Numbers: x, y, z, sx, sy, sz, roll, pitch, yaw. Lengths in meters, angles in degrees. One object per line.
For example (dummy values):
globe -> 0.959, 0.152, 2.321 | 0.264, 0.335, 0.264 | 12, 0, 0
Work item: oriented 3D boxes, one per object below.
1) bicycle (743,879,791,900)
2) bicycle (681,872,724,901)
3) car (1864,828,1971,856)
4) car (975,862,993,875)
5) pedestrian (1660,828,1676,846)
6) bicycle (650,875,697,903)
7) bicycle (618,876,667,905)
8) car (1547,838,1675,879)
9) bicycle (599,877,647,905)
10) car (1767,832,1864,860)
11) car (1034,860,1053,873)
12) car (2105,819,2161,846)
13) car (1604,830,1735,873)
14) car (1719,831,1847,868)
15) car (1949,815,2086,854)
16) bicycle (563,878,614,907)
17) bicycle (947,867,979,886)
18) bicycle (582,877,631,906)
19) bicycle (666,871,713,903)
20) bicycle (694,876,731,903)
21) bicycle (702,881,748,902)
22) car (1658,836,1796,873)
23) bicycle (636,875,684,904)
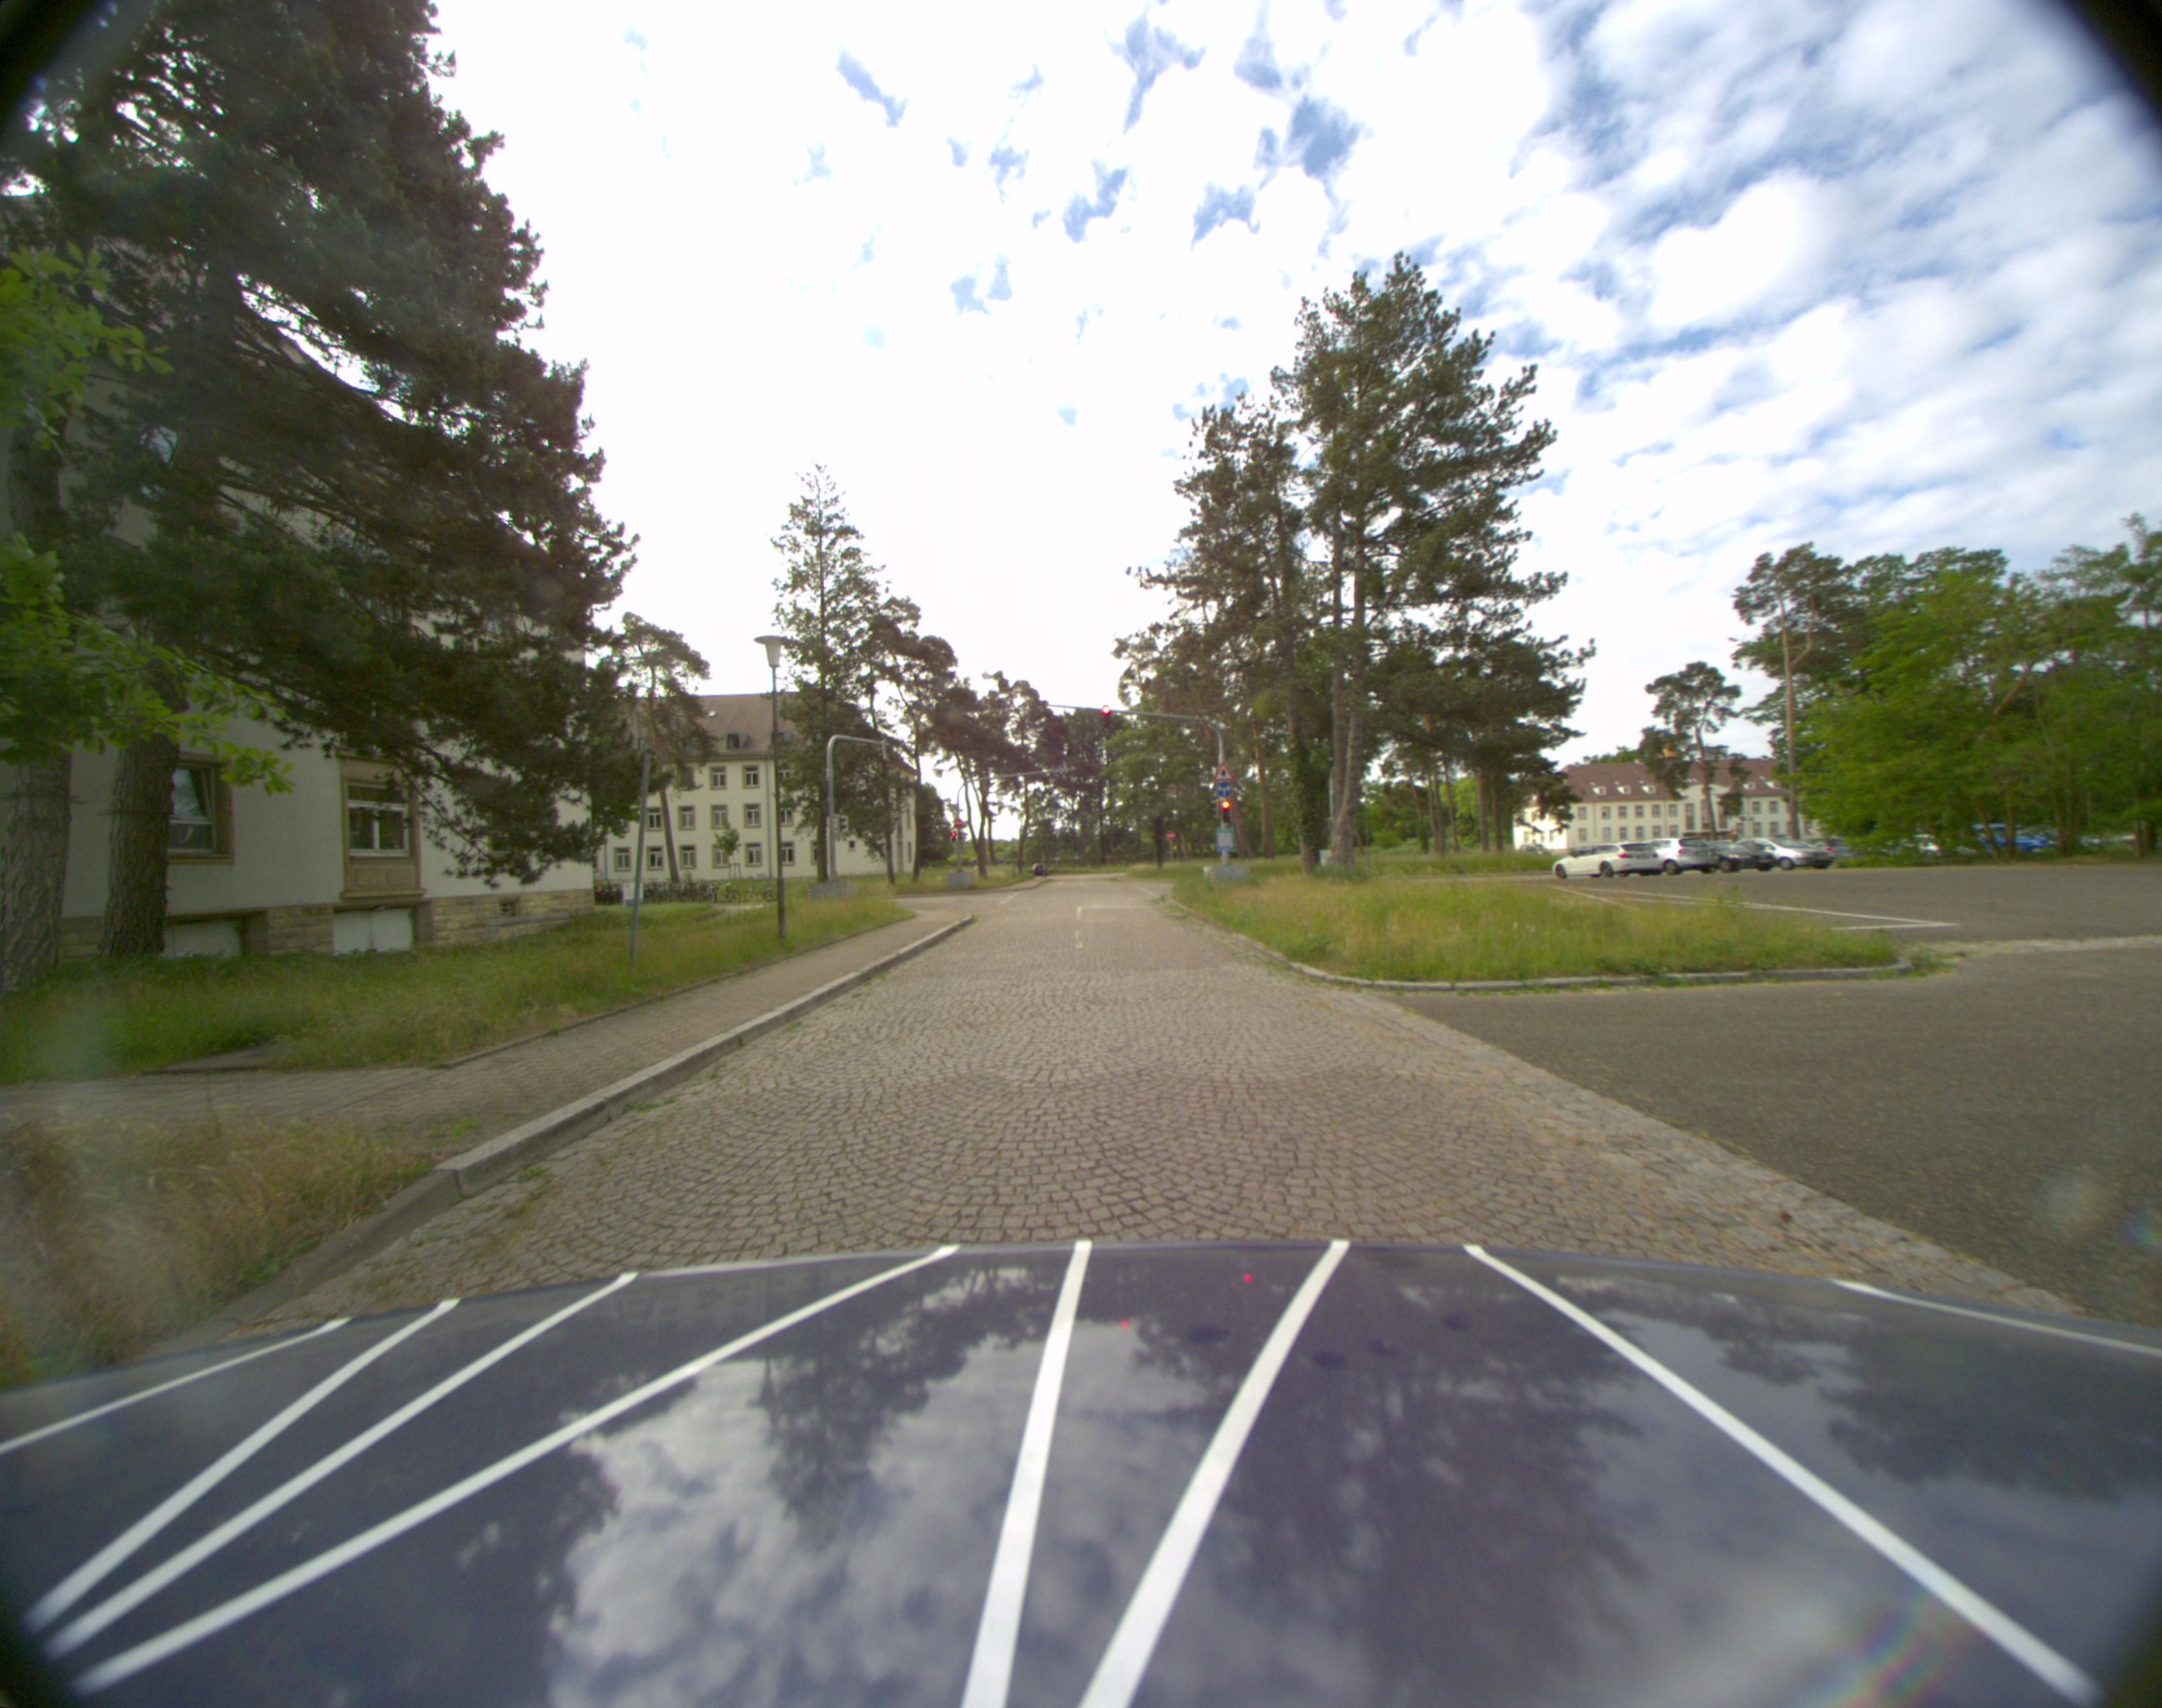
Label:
bicycle -> -15.920, 1.795, 38.554 | 1.977, 0.990, 0.903 | -2, 0, -1
bicycle -> -19.903, 1.690, 40.041 | 0.874, 1.359, 2.628 | -2, 0, 0
car -> 47.762, -0.644, 43.488 | 1.795, 1.440, 3.936 | -2, 0, 1
car -> -12.273, 1.840, 96.310 | 1.771, 1.524, 3.695 | -2, 0, 2
pedestrian -> 72.246, -2.100, 93.535 | 1.055, 2.165, 1.185 | -2, 0, 1
bicycle -> -21.693, 1.851, 40.511 | 0.950, 1.363, 2.812 | -2, 0, 0
bicycle -> -23.122, 1.906, 40.147 | 0.950, 1.363, 2.812 | -2, 0, 0
car -> 22.306, 0.255, 32.273 | 1.912, 1.430, 4.823 | -2, -3, -2
bicycle -> -24.086, 1.918, 39.995 | 0.950, 1.363, 2.576 | -2, 0, -1
car -> 41.933, -0.442, 43.500 | 1.795, 1.467, 3.936 | -2, 0, 2
car -> -4.654, 1.515, 95.564 | 1.998, 1.524, 4.000 | -2, 0, 2
car -> 62.015, -1.271, 43.351 | 1.867, 1.495, 4.001 | -2, 0, 3
car -> 24.902, -0.048, 32.384 | 1.846, 1.580, 4.488 | -2, -2, -3
car -> 30.269, -0.166, 32.923 | 1.680, 1.447, 3.986 | -2, 0, -4
car -> 53.089, -1.045, 43.240 | 1.998, 2.002, 4.846 | -2, 0, 5
bicycle -> -25.762, 1.990, 39.810 | 0.950, 1.363, 2.576 | -2, 0, -1
bicycle -> -7.159, 1.376, 46.104 | 1.833, 1.057, 0.646 | -2, 4, -3
bicycle -> -24.924, 1.956, 39.978 | 0.950, 1.363, 2.576 | -2, 0, -1
bicycle -> -20.769, 1.711, 40.385 | 0.950, 1.574, 2.812 | -2, 0, 0
bicycle -> -19.287, 1.832, 39.854 | 0.874, 1.298, 2.120 | -2, 0, 0
bicycle -> -18.009, 1.890, 38.469 | 1.976, 0.990, 0.730 | -2, 0, 4
car -> 27.603, 0.039, 32.711 | 1.884, 1.414, 4.634 | -2, 0, -2
bicycle -> -22.230, 1.866, 40.180 | 0.950, 1.363, 2.812 | -2, 0, 0
